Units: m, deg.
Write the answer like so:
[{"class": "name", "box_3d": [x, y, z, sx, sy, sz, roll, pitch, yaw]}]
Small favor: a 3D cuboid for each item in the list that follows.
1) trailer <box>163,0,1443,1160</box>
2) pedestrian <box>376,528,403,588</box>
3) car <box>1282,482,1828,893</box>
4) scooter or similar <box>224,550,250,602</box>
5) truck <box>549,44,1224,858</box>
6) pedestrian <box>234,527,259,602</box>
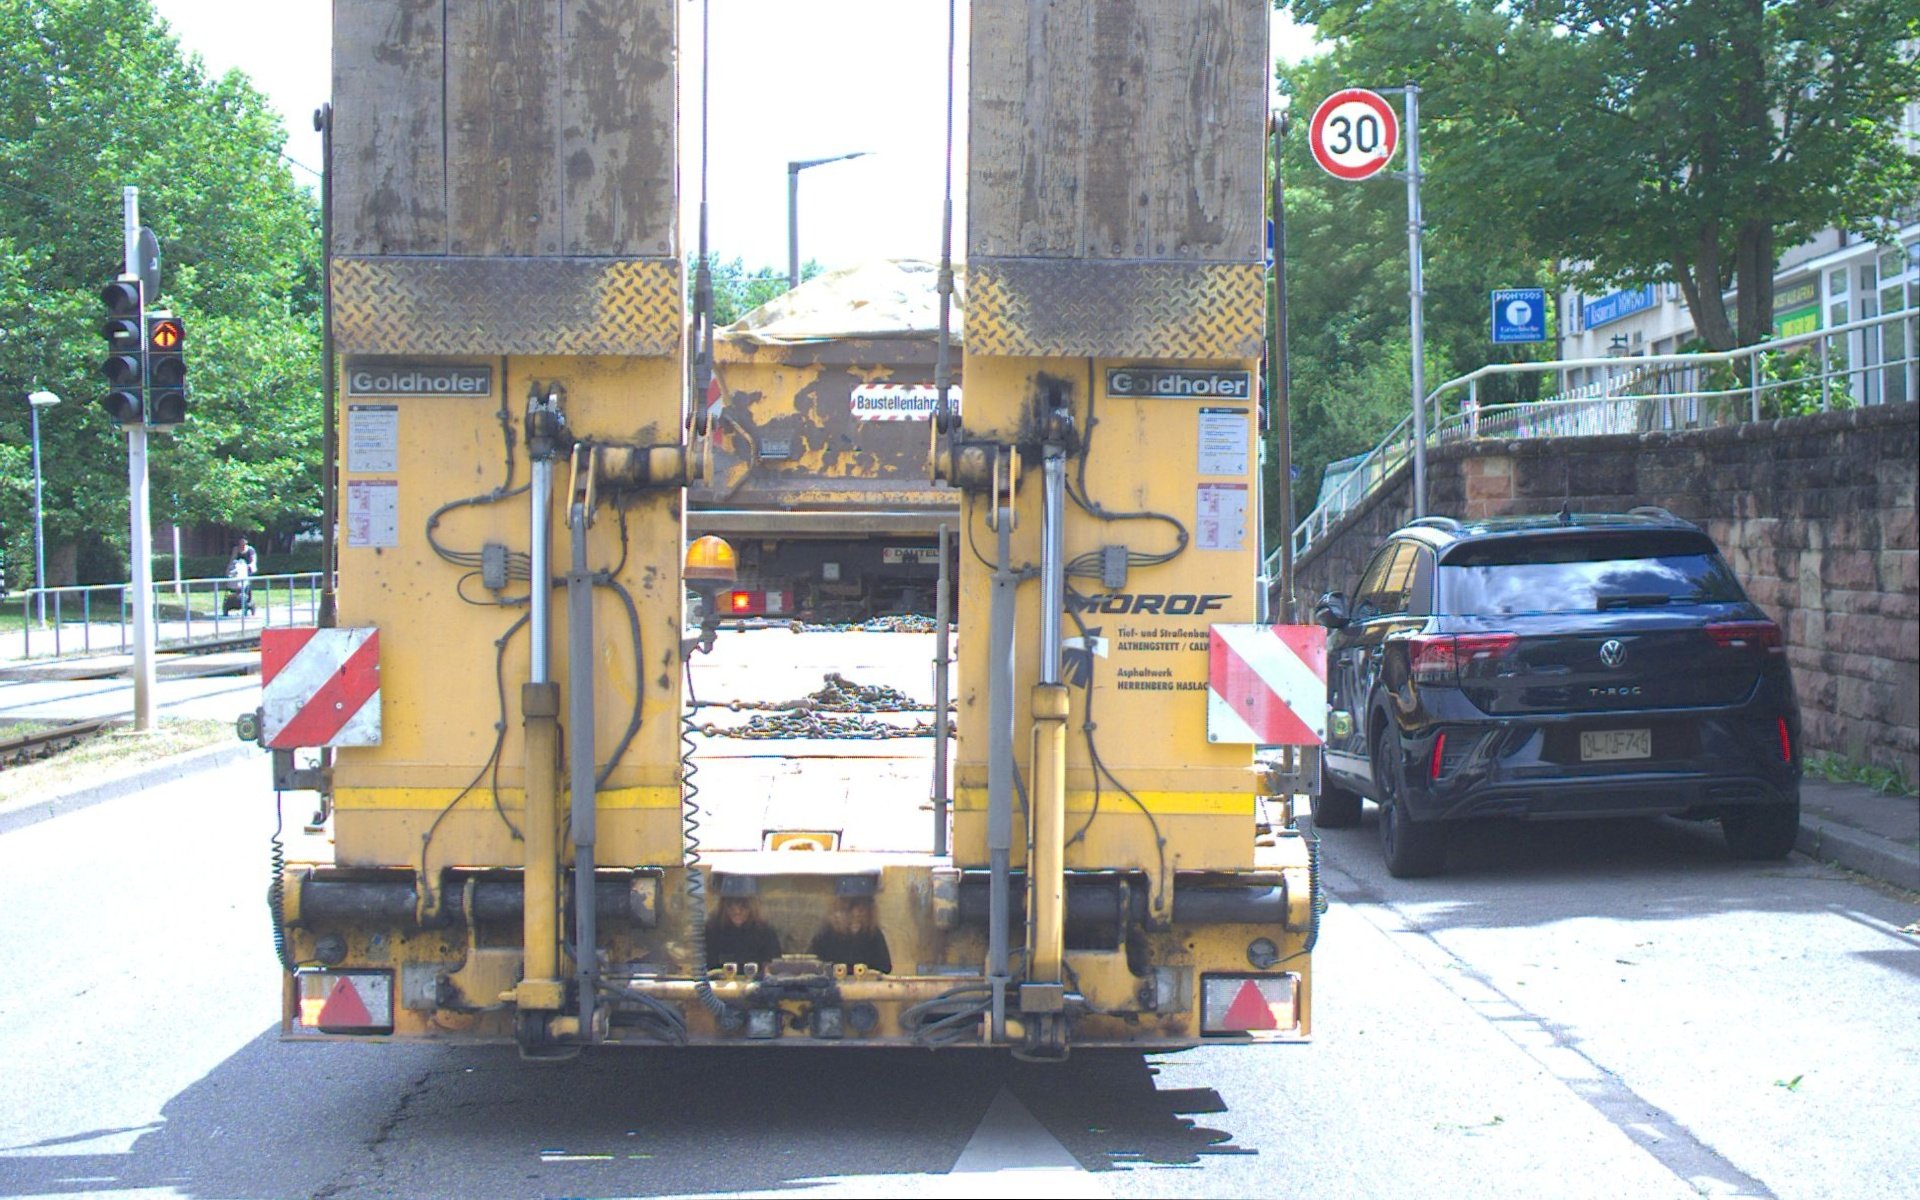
[{"class": "trailer", "box_3d": [-0.343, -0.597, 12.343, 2.945, 3.589, 8.684, -1, 1, 0]}, {"class": "pedestrian", "box_3d": [-14.528, -1.063, 87.518, 0.563, 1.508, 0.646, 1, 1, -1]}, {"class": "car", "box_3d": [2.646, 0.327, 16.211, 1.851, 1.633, 4.000, -2, 1, 0]}, {"class": "scooter or similar", "box_3d": [-14.774, -0.492, 70.230, 0.338, 1.054, 0.687, -1, 1, 2]}, {"class": "truck", "box_3d": [-0.326, -0.709, 17.649, 2.942, 3.560, 4.877, -1, 1, 0]}, {"class": "pedestrian", "box_3d": [-14.715, -0.740, 70.875, 0.348, 1.531, 0.557, -1, 1, 3]}]
